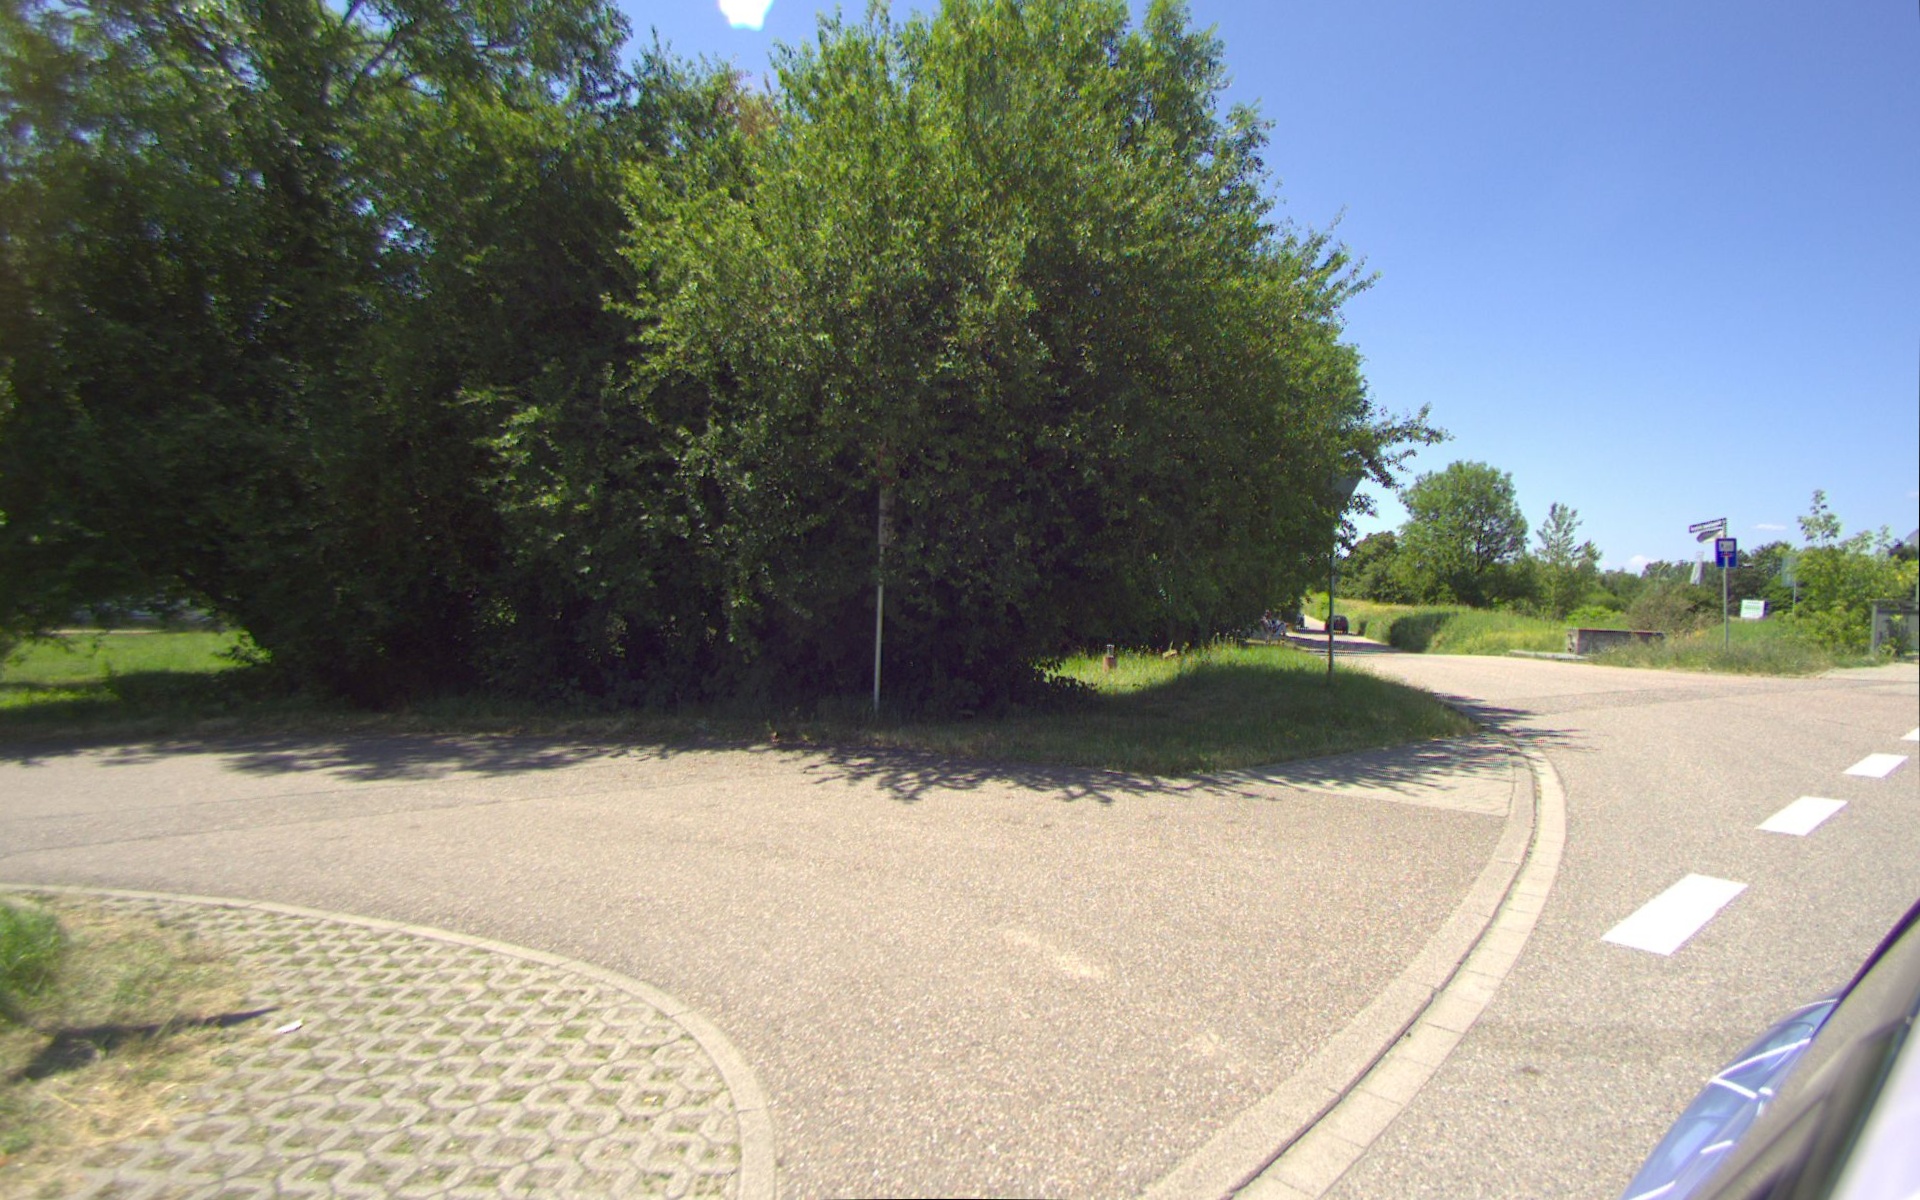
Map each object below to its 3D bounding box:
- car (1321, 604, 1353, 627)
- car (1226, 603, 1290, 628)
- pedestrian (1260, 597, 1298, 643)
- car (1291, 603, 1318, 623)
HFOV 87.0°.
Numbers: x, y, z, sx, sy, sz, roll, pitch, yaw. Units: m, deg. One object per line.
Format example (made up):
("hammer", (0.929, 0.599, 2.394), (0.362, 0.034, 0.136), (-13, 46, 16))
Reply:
("car", (30.767, 1.239, 82.643), (1.972, 1.644, 4.491), (3, 1, 15))
("car", (22.076, 1.122, 75.078), (4.449, 1.644, 1.990), (3, 1, 16))
("pedestrian", (10.330, 0.639, 32.782), (0.832, 1.410, 0.684), (4, 1, -25))
("car", (31.299, 1.146, 91.964), (1.972, 1.644, 4.491), (3, 1, 15))
